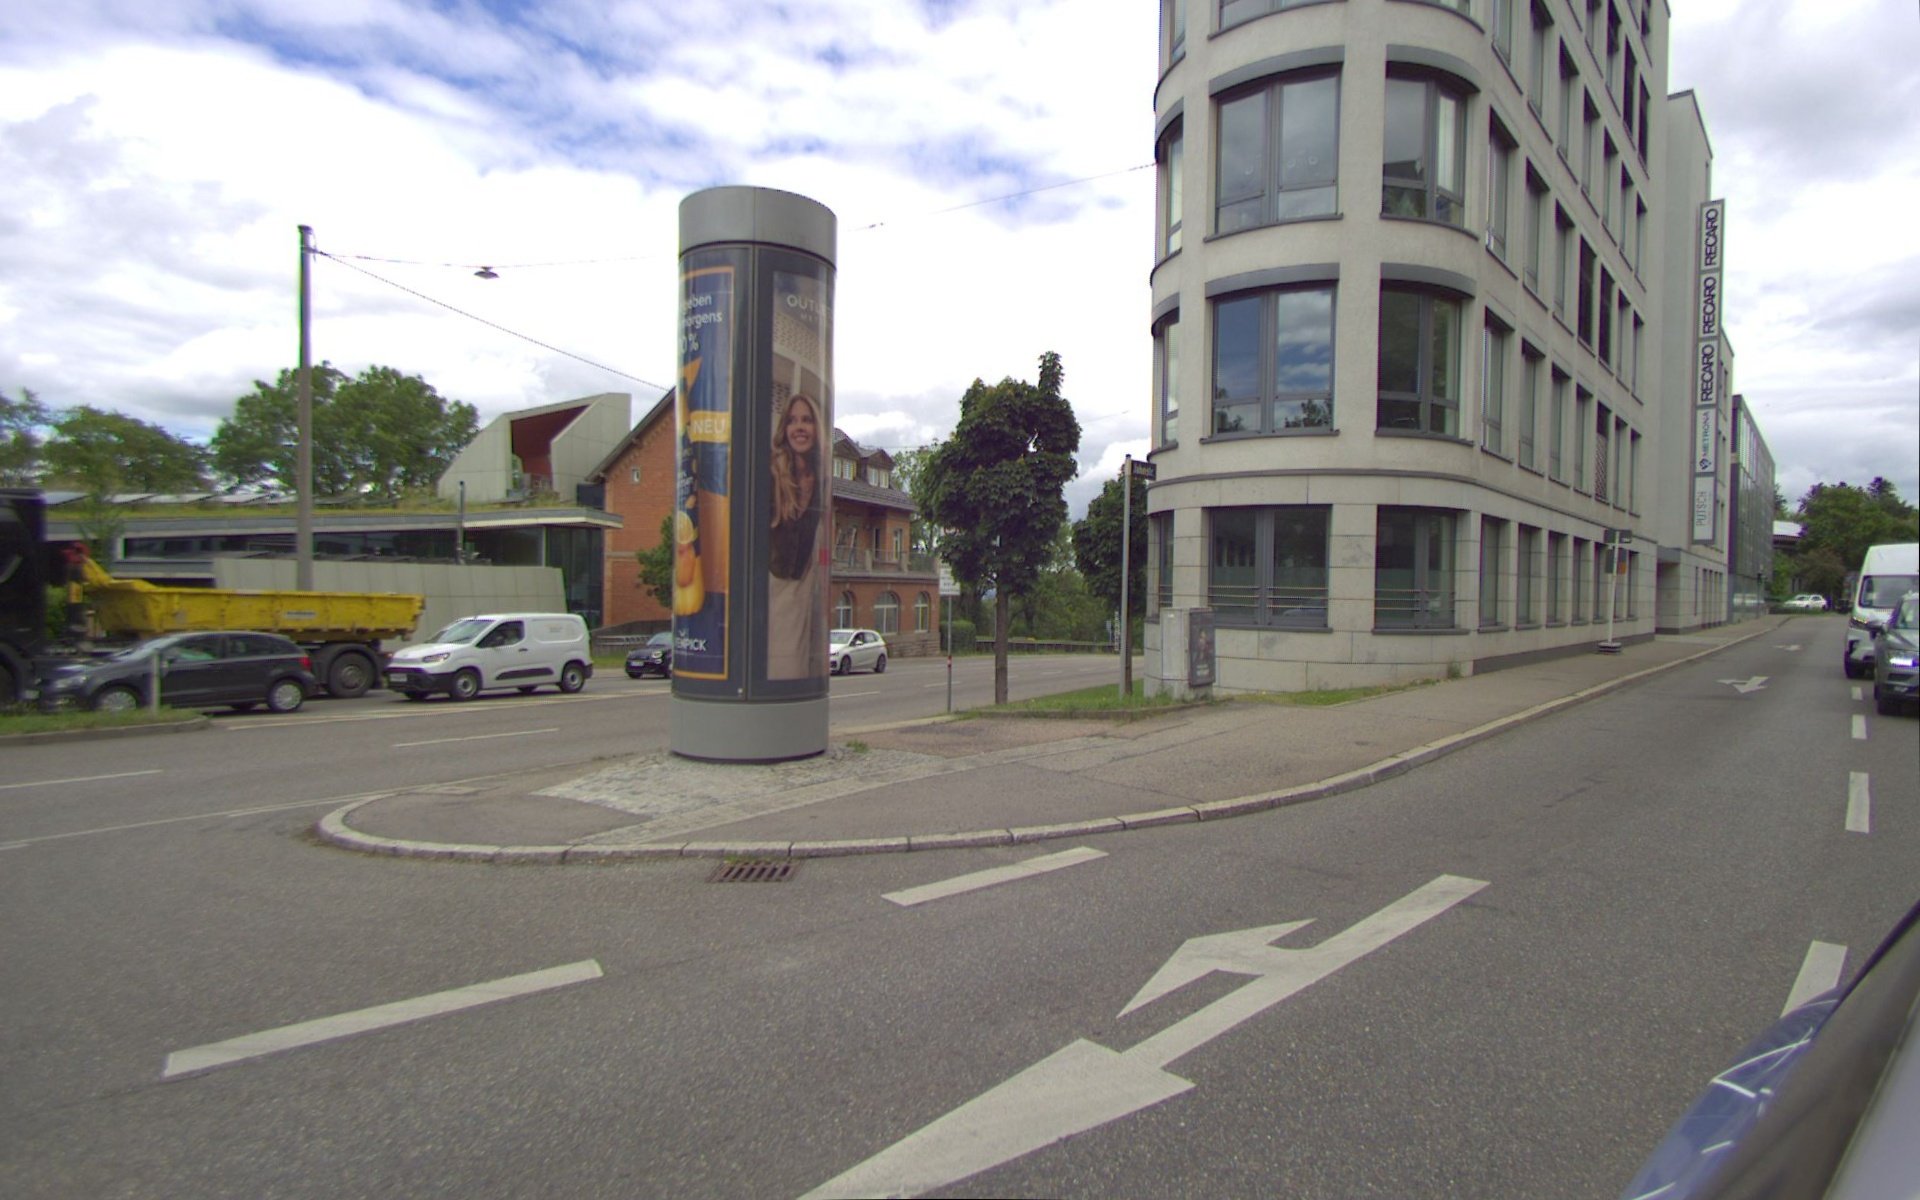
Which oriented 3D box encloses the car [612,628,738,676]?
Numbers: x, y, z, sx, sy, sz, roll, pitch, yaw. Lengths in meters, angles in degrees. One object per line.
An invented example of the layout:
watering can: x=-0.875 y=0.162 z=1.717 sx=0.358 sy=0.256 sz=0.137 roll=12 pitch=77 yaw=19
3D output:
car: x=-9.006 y=1.615 z=32.312 sx=1.670 sy=1.350 sz=3.946 roll=0 pitch=-1 yaw=27

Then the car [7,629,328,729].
car: x=-13.130 y=1.223 z=17.031 sx=1.639 sy=1.392 sz=3.936 roll=-1 pitch=-1 yaw=29

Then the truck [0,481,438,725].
truck: x=-15.397 y=0.046 z=19.760 sx=2.803 sy=3.975 sz=9.362 roll=-1 pitch=0 yaw=28

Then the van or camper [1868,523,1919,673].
van or camper: x=19.831 y=-0.048 z=20.504 sx=2.103 sy=2.724 sz=6.203 roll=-1 pitch=0 yaw=42

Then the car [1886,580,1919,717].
car: x=13.643 y=0.584 z=13.501 sx=1.828 sy=1.666 sz=4.260 roll=-1 pitch=0 yaw=42

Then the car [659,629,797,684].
car: x=-6.562 y=1.555 z=29.132 sx=1.736 sy=1.394 sz=4.253 roll=0 pitch=-1 yaw=23

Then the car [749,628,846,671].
car: x=-6.069 y=1.820 z=38.233 sx=1.670 sy=1.459 sz=3.946 roll=0 pitch=-1 yaw=27

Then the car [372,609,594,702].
car: x=-10.301 y=1.113 z=22.185 sx=1.738 sy=1.820 sz=4.246 roll=0 pitch=-1 yaw=27

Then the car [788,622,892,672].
car: x=-4.130 y=1.600 z=35.434 sx=1.717 sy=1.588 sz=4.292 roll=-2 pitch=-2 yaw=23
